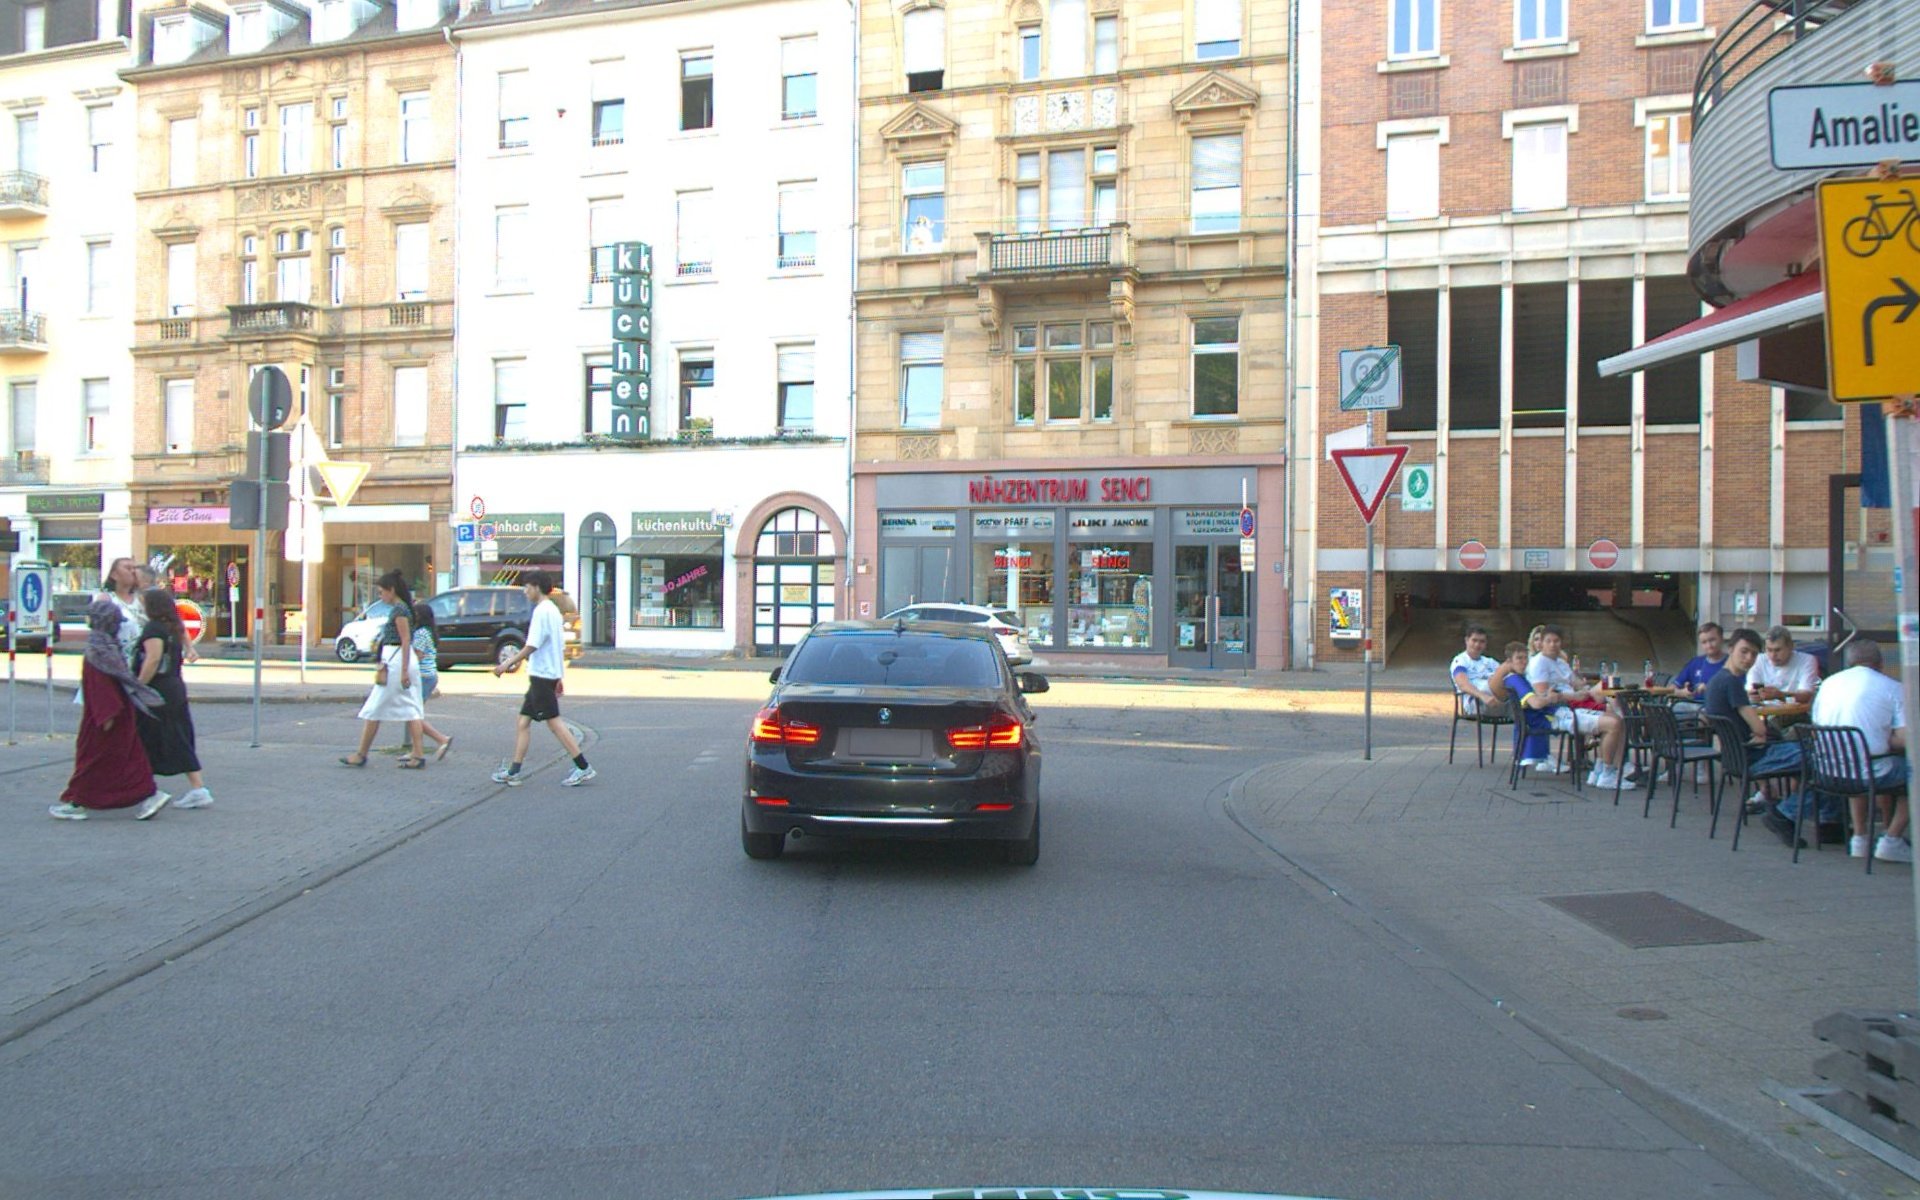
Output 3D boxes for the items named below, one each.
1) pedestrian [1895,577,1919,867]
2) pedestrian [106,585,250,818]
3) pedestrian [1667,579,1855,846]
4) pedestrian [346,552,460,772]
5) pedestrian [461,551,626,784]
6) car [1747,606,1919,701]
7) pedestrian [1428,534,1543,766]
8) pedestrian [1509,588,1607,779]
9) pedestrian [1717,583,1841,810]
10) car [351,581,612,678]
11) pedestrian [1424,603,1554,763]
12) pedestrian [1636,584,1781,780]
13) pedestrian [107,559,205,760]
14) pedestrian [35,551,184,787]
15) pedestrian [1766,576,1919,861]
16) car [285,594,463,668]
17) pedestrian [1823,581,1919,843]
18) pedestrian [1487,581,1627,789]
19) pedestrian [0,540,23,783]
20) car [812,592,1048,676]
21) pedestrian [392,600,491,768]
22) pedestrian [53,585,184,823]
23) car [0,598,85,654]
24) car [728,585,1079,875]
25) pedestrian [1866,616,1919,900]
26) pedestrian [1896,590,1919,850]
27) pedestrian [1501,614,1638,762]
[{"bbox_3d":[5.618,0.673,8.821,0.834,1.563,0.679,2,0,-7],"label":"pedestrian"},{"bbox_3d":[-5.696,0.715,12.042,0.790,1.610,0.721,2,-1,-36],"label":"pedestrian"},{"bbox_3d":[4.991,0.674,10.348,0.699,1.562,0.758,-3,0,-7],"label":"pedestrian"},{"bbox_3d":[-4.998,0.545,14.839,0.771,1.908,0.706,2,-1,-33],"label":"pedestrian"},{"bbox_3d":[-3.545,0.550,14.099,0.872,1.885,0.981,1,-1,37],"label":"pedestrian"},{"bbox_3d":[16.171,0.922,29.254,3.905,1.546,2.000,1,1,21],"label":"car"},{"bbox_3d":[4.783,0.439,15.111,0.889,2.049,0.856,1,0,11],"label":"pedestrian"},{"bbox_3d":[5.023,0.685,13.924,0.697,1.563,0.690,0,-1,14],"label":"pedestrian"},{"bbox_3d":[5.925,0.676,11.960,0.736,1.563,0.647,2,0,29],"label":"pedestrian"},{"bbox_3d":[-9.429,0.535,32.702,4.504,1.681,2.099,2,1,15],"label":"car"},{"bbox_3d":[4.816,0.734,15.074,0.760,1.406,0.831,0,-1,-29],"label":"pedestrian"},{"bbox_3d":[6.237,0.660,13.791,0.707,1.563,0.841,2,-1,-38],"label":"pedestrian"},{"bbox_3d":[-7.354,0.533,15.122,0.679,1.776,0.708,2,-1,-32],"label":"pedestrian"},{"bbox_3d":[-6.906,0.543,13.434,0.876,1.834,0.703,2,-1,-43],"label":"pedestrian"},{"bbox_3d":[5.213,0.657,9.594,0.636,1.554,0.699,-3,0,-7],"label":"pedestrian"},{"bbox_3d":[-14.253,0.721,40.242,3.905,1.612,1.705,2,0,21],"label":"car"},{"bbox_3d":[5.911,0.668,10.309,0.660,1.563,0.654,-2,0,-6],"label":"pedestrian"},{"bbox_3d":[4.743,0.654,13.181,0.698,1.562,0.853,-3,0,-2],"label":"pedestrian"},{"bbox_3d":[-7.916,0.471,12.815,0.697,1.909,0.853,2,0,9],"label":"pedestrian"},{"bbox_3d":[-0.632,0.705,35.143,4.570,1.562,2.000,2,0,19],"label":"car"},{"bbox_3d":[-4.829,0.770,15.398,0.707,1.512,0.597,2,-1,-33],"label":"pedestrian"},{"bbox_3d":[-5.808,0.697,11.419,0.673,1.569,0.585,2,-1,-37],"label":"pedestrian"},{"bbox_3d":[-26.393,0.682,44.916,4.735,1.459,2.000,1,-1,21],"label":"car"},{"bbox_3d":[-0.336,0.731,10.915,1.850,1.518,4.203,1,-1,-1],"label":"car"},{"bbox_3d":[4.959,0.763,8.032,0.641,1.368,0.748,-2,0,-6],"label":"pedestrian"},{"bbox_3d":[6.059,0.711,9.621,0.752,1.530,0.782,1,0,-6],"label":"pedestrian"},{"bbox_3d":[5.591,0.799,15.202,0.676,1.304,0.959,1,-2,-28],"label":"pedestrian"}]
